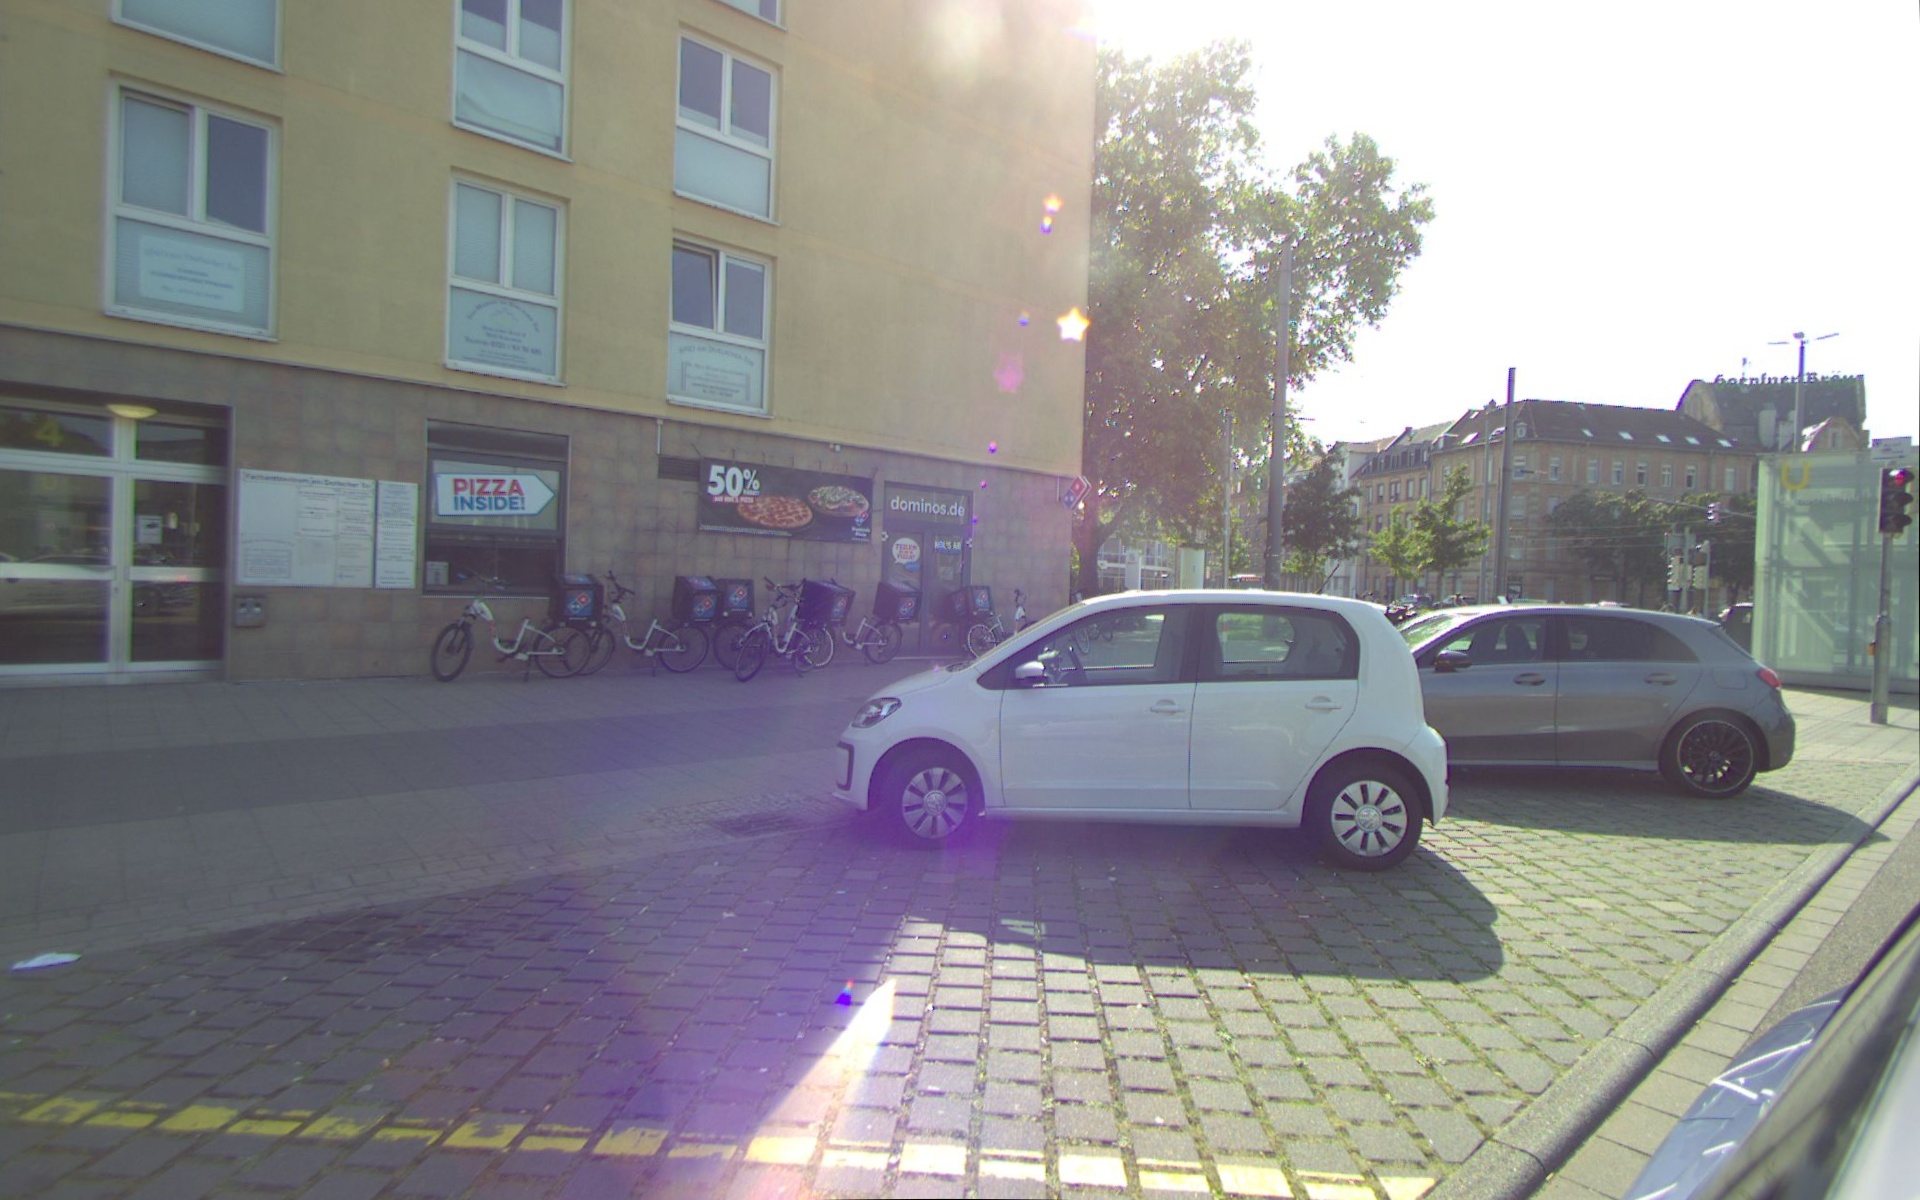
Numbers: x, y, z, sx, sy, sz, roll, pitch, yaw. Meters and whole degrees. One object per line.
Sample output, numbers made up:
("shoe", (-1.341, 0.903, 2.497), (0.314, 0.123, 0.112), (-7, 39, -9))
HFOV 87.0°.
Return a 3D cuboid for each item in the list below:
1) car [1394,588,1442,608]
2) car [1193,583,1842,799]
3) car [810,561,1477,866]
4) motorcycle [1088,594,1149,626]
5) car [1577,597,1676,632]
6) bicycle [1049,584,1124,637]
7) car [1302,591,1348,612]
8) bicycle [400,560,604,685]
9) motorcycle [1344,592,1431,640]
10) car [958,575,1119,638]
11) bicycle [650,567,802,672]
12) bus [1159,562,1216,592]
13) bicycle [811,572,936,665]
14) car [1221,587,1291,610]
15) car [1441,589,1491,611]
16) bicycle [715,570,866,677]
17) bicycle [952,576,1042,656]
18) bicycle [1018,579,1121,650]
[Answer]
("car", (41.795, -0.218, 92.468), (1.778, 1.644, 4.297), (3, 1, -9))
("car", (4.289, 0.635, 8.502), (4.335, 1.441, 1.844), (2, 1, 8))
("car", (0.992, 0.557, 6.200), (3.468, 1.482, 1.620), (2, 1, 7))
("motorcycle", (5.306, 0.335, 33.930), (1.916, 1.014, 0.707), (2, 1, -25))
("car", (32.200, 0.659, 49.027), (1.766, 1.459, 3.912), (2, 1, -10))
("bicycle", (3.131, 0.260, 24.872), (0.523, 1.250, 2.264), (3, 1, 44))
("car", (28.616, 0.091, 79.450), (1.766, 1.459, 3.638), (2, 1, -10))
("bicycle", (-5.077, 0.236, 11.309), (1.963, 1.277, 0.603), (1, 1, -42))
("motorcycle", (11.002, 0.405, 26.046), (2.253, 1.161, 0.707), (2, 1, -25))
("car", (2.059, 0.172, 25.864), (4.120, 1.459, 1.660), (1, 1, -40))
("bicycle", (-3.060, 0.241, 13.402), (0.602, 1.277, 1.968), (3, 1, 40))
("bus", (24.898, -2.586, 111.541), (2.841, 3.021, 11.509), (2, 1, -4))
("bicycle", (-1.258, 0.263, 14.989), (1.817, 1.277, 0.603), (1, 1, -42))
("car", (20.944, -0.098, 71.665), (4.317, 1.387, 1.999), (2, 1, 2))
("car", (42.199, -0.029, 84.453), (1.708, 1.601, 3.982), (3, 1, -7))
("bicycle", (-2.158, 0.284, 13.101), (0.602, 1.277, 1.968), (3, 1, 40))
("bicycle", (0.644, 0.269, 17.070), (1.608, 1.277, 0.469), (1, 1, -42))
("bicycle", (2.063, 0.256, 19.383), (0.659, 1.221, 2.021), (1, 2, -41))
